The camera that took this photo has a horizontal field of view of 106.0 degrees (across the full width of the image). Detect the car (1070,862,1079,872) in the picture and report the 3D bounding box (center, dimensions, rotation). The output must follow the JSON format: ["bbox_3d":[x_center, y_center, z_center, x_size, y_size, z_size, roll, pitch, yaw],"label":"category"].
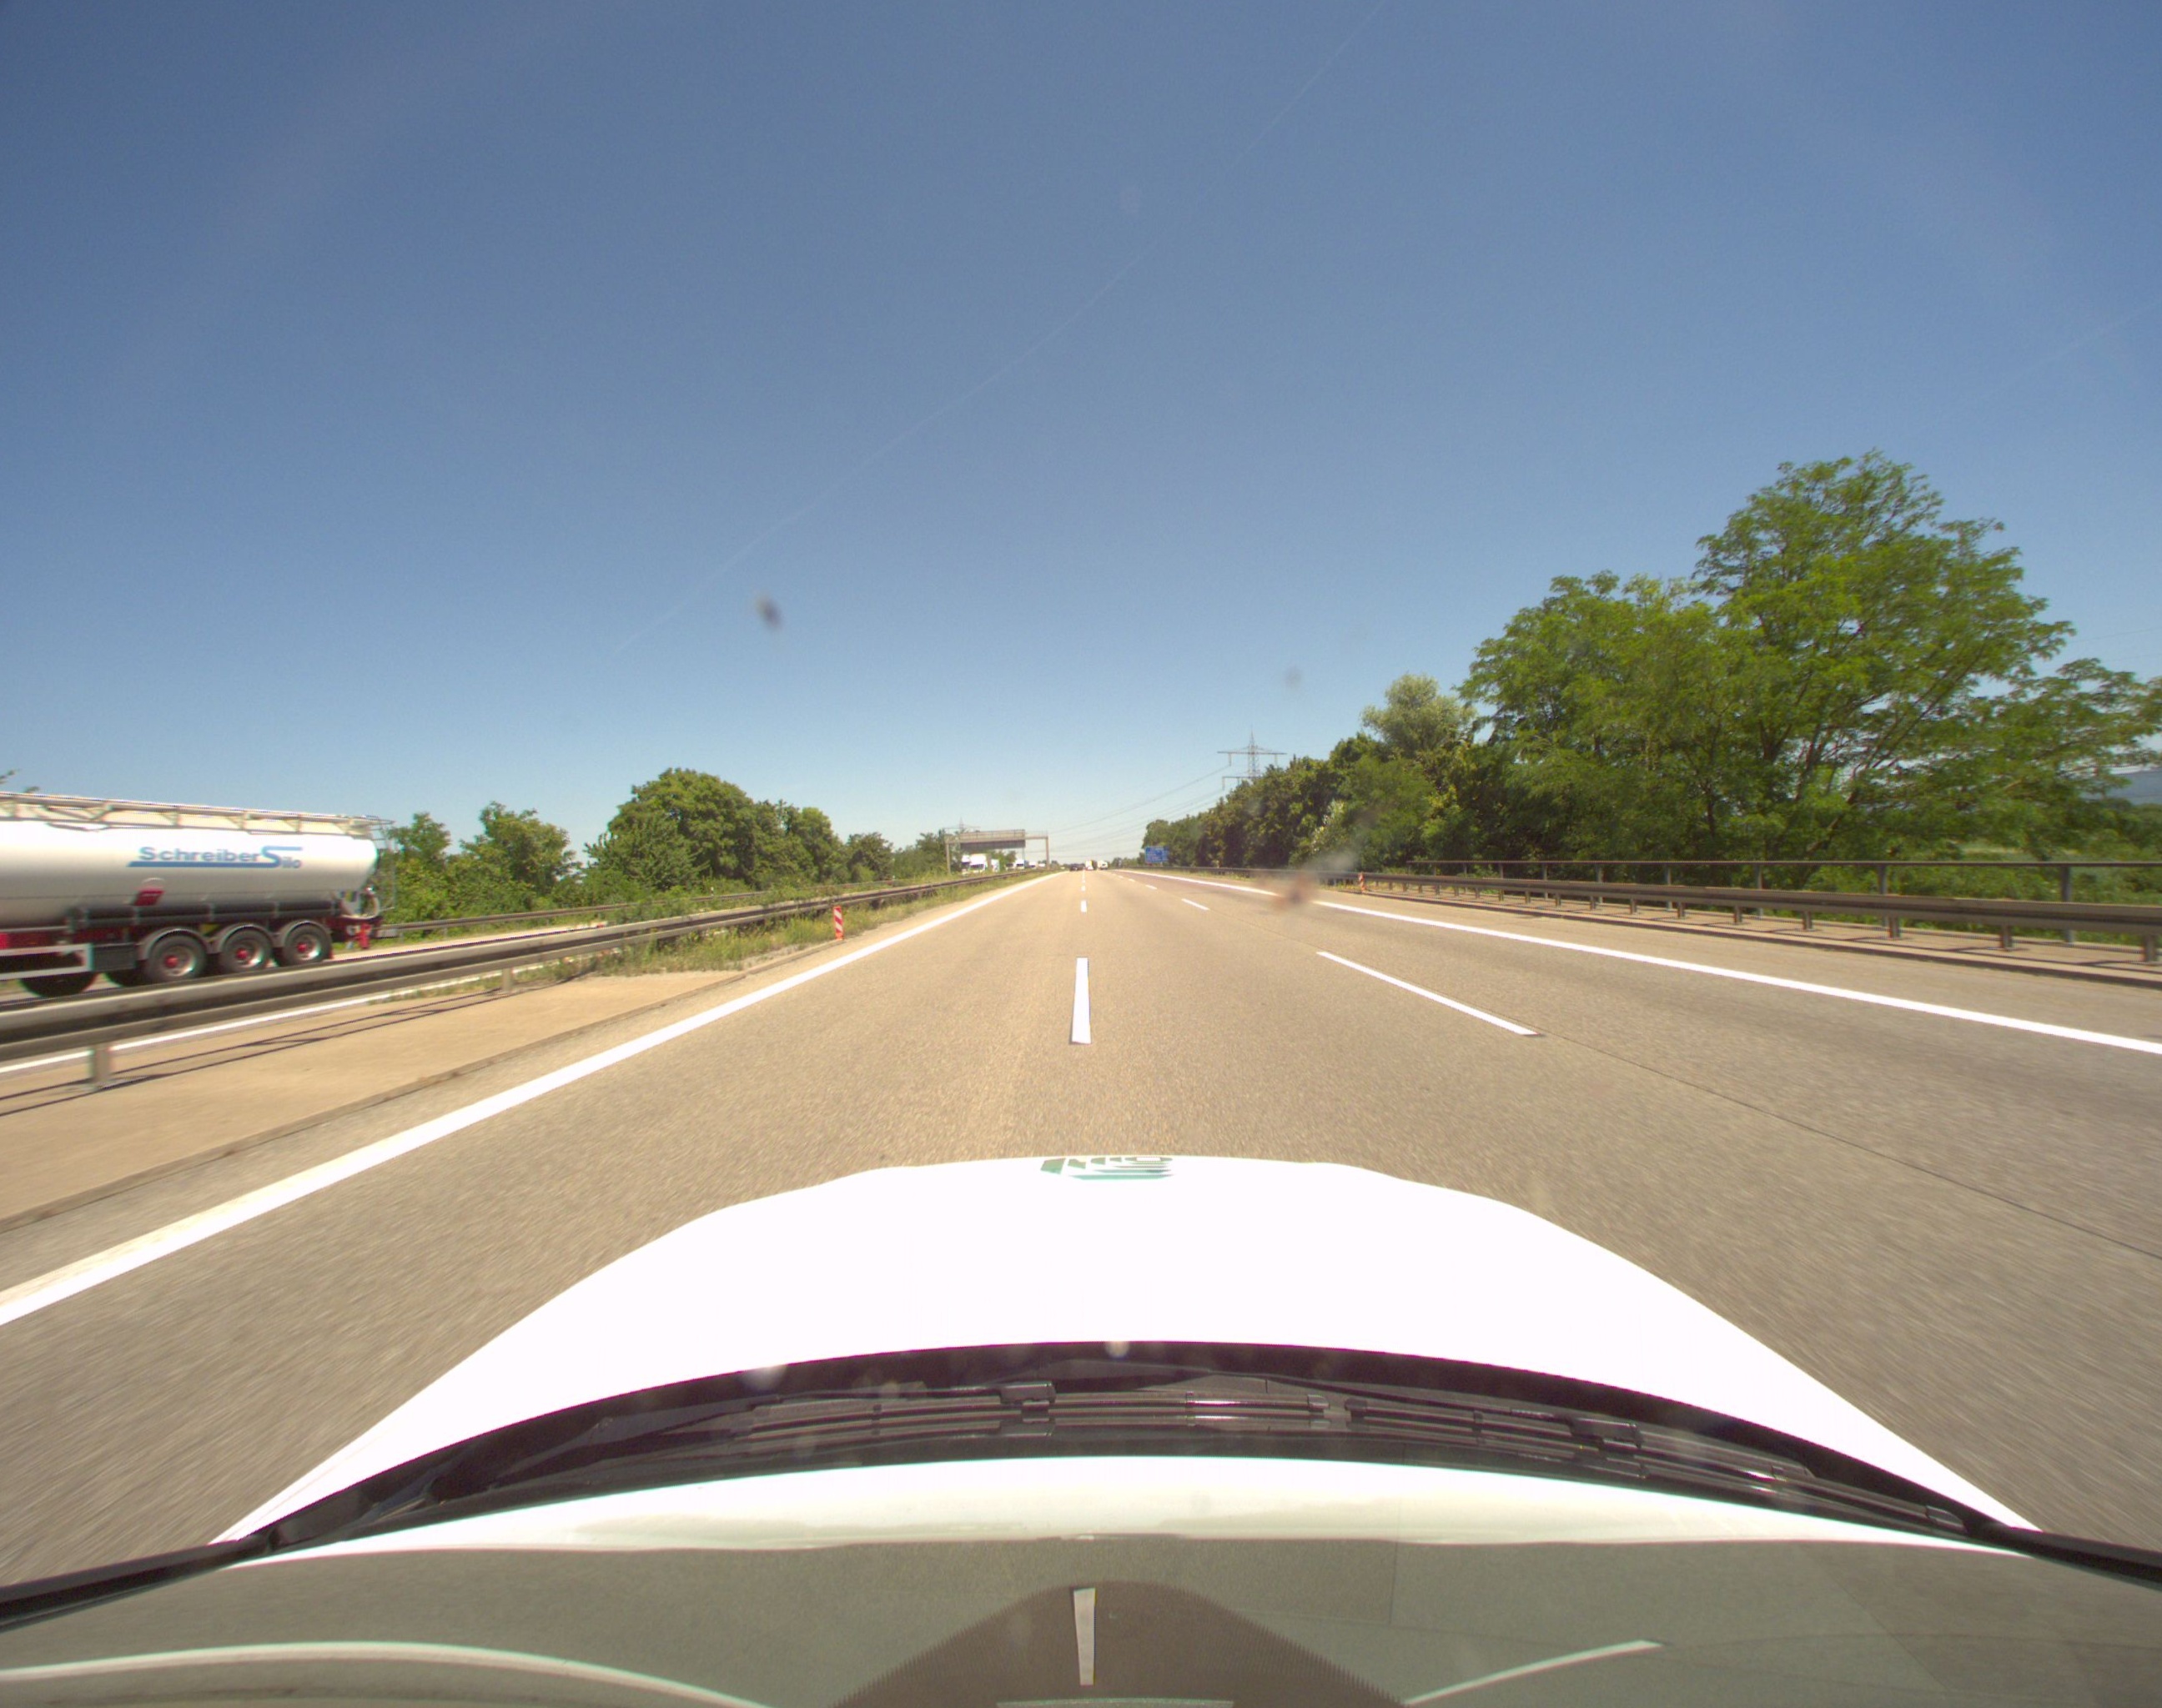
[{"bbox_3d":[-1.422,2.922,184.610,1.785,2.014,3.887,-1,-1,1],"label":"car"}]

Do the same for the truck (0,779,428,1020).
[{"bbox_3d":[-19.514,0.825,14.469,2.719,4.053,15.935,-3,-1,1],"label":"truck"}]

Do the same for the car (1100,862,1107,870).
[{"bbox_3d":[6.264,3.329,227.382,1.987,2.014,3.999,-3,-1,0],"label":"car"}]

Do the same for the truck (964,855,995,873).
[{"bbox_3d":[-12.688,1.272,102.108,2.719,2.067,7.139,-3,-1,1],"label":"truck"}]

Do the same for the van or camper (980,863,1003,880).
[{"bbox_3d":[-14.446,2.773,131.445,2.459,2.560,7.811,-3,-1,2],"label":"van or camper"}]

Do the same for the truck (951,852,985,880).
[{"bbox_3d":[-19.916,2.041,144.635,3.206,4.377,17.188,-5,-1,0],"label":"truck"}]

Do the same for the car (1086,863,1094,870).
[{"bbox_3d":[2.948,3.838,254.401,2.167,1.929,4.616,-3,-1,4],"label":"car"}]
